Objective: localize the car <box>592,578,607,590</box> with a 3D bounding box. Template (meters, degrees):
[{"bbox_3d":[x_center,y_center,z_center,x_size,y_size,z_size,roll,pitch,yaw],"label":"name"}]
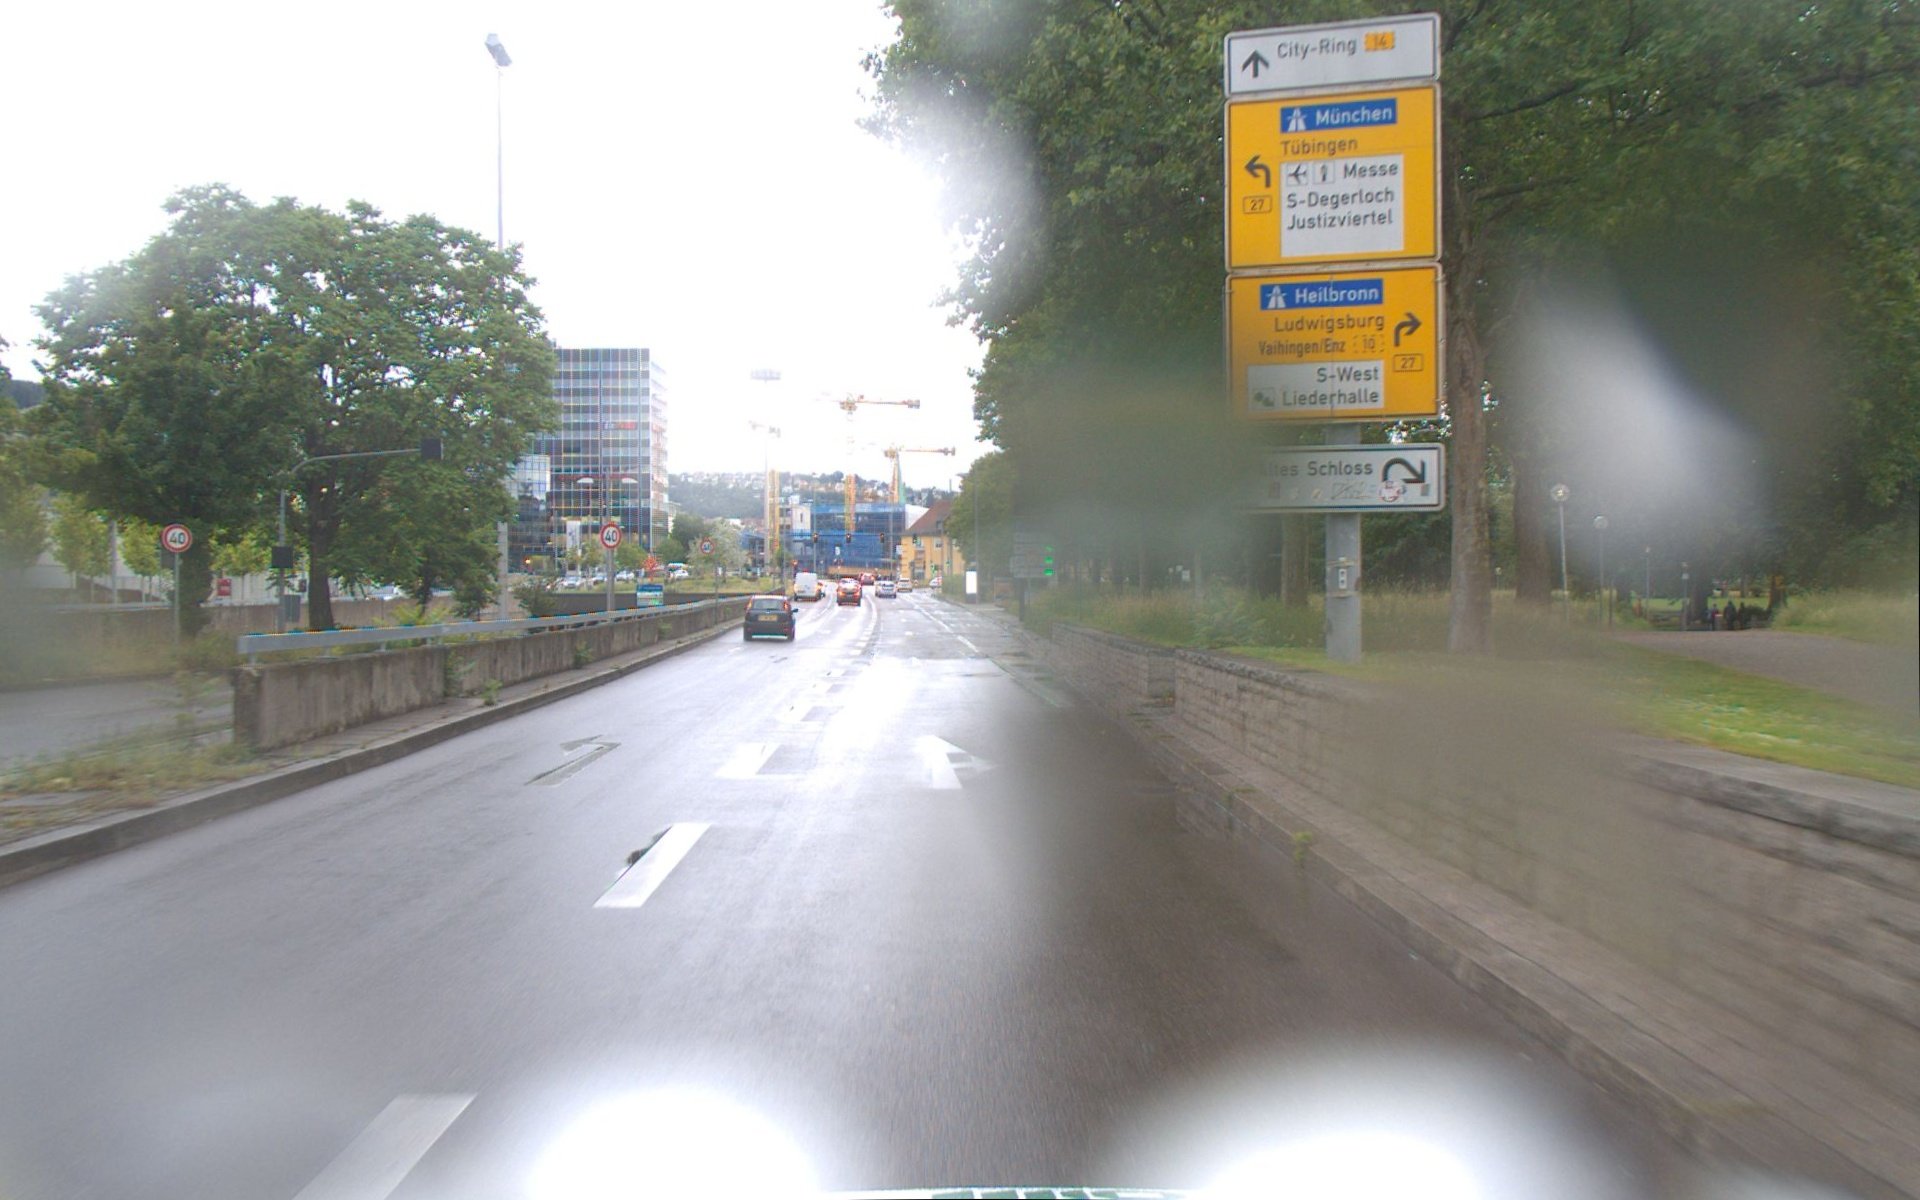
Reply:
[{"bbox_3d":[-45.262,-1.999,207.583,1.435,1.465,2.960,1,0,-4],"label":"car"}]

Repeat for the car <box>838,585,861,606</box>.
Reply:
[{"bbox_3d":[-8.726,-0.397,130.344,1.719,1.497,4.218,1,2,-5],"label":"car"}]

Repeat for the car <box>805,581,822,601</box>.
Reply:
[{"bbox_3d":[-13.021,-0.830,147.236,1.436,1.736,3.137,1,0,-6],"label":"car"}]

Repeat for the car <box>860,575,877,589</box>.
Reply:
[{"bbox_3d":[-12.471,-2.471,225.964,2.117,1.912,3.770,1,0,-1],"label":"car"}]

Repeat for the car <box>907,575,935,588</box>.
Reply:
[{"bbox_3d":[-4.963,-2.432,213.300,1.522,1.570,3.602,1,-1,43],"label":"car"}]

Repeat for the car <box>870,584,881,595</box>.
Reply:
[{"bbox_3d":[-8.436,-1.052,165.011,1.055,1.007,1.971,1,-1,-1],"label":"car"}]

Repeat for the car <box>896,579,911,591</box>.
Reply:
[{"bbox_3d":[-6.419,-1.728,188.459,1.603,1.194,3.264,1,-1,-1],"label":"car"}]

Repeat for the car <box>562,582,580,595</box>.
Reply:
[{"bbox_3d":[-43.605,-1.284,185.483,1.317,1.376,2.930,1,0,-2],"label":"car"}]

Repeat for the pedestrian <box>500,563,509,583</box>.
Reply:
[{"bbox_3d":[-48.640,-2.895,176.518,0.752,2.126,0.726,1,5,-5],"label":"pedestrian"}]

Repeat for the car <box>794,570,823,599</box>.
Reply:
[{"bbox_3d":[-12.870,-1.279,140.705,2.247,2.354,5.002,1,0,-3],"label":"car"}]

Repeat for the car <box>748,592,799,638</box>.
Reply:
[{"bbox_3d":[-6.166,0.492,54.974,1.512,1.440,3.898,1,0,-5],"label":"car"}]

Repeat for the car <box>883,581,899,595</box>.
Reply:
[{"bbox_3d":[-6.629,-1.149,158.895,1.415,1.383,2.411,1,0,-1],"label":"car"}]
